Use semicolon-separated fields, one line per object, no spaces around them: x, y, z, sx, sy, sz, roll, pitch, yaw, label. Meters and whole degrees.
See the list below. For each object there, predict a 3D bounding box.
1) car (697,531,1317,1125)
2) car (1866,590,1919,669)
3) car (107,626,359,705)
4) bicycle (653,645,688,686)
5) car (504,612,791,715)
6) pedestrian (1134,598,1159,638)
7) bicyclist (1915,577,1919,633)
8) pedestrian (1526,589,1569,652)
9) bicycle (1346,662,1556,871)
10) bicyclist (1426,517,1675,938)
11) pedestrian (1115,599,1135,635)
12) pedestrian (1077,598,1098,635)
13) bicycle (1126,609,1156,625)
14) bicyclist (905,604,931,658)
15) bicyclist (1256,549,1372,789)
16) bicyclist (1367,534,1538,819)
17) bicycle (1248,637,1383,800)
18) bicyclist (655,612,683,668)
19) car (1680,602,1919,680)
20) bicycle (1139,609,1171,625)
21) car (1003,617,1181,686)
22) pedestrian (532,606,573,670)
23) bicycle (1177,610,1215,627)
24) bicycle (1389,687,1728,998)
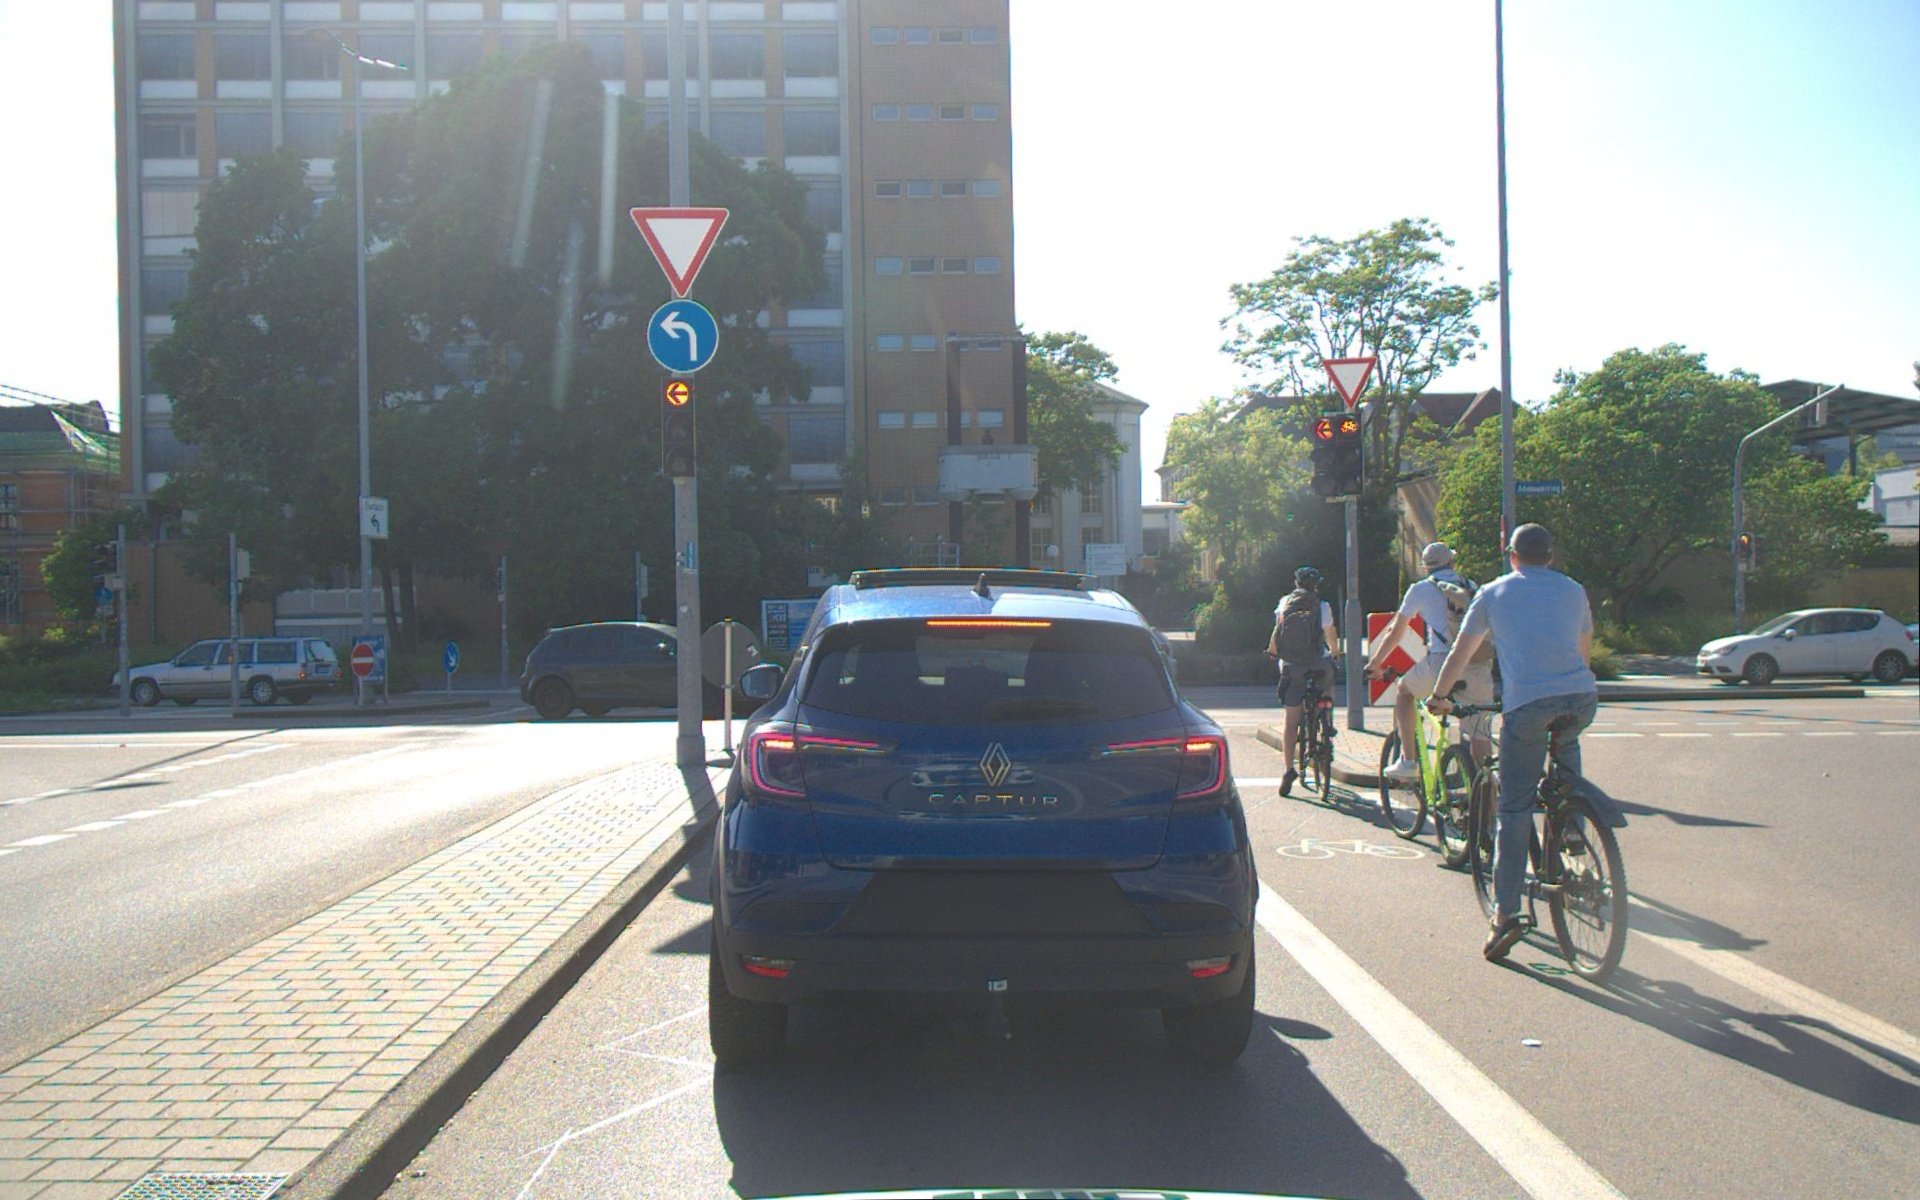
0.084;0.645;6.646;1.758;1.684;3.852;1;0;-2;car
22.162;0.587;35.403;4.408;1.634;2.001;-1;0;5;car
-16.113;1.441;36.788;4.760;1.621;1.939;-1;0;6;car
-7.661;1.746;43.715;0.687;1.025;1.860;-1;-3;-16;bicycle
-4.831;0.976;25.822;3.902;1.414;2.002;-2;0;11;car
9.736;0.921;86.431;1.132;2.049;1.164;-1;0;-1;pedestrian
24.020;0.121;40.900;0.510;1.392;0.576;-1;0;10;bicyclist
15.626;0.546;44.028;0.960;1.632;0.827;-1;0;13;pedestrian
2.918;0.952;10.023;0.657;1.069;1.843;1;0;-2;bicycle
2.538;0.519;7.200;0.725;1.703;0.865;-1;0;-3;bicyclist
9.361;0.967;93.861;1.126;2.049;0.952;-1;0;6;pedestrian
7.100;0.922;92.006;1.126;2.049;0.952;-1;0;6;pedestrian
10.862;1.012;99.355;1.735;0.908;0.765;-1;0;-1;bicycle
-1.153;0.838;45.195;0.623;1.437;0.649;-1;0;5;bicyclist
2.777;0.531;13.049;0.663;1.816;0.939;1;-1;-2;bicyclist
2.931;0.435;9.941;0.660;1.610;1.081;1;0;-2;bicyclist
2.773;0.889;13.061;0.602;1.158;1.825;0;0;-2;bicycle
-7.705;1.066;43.839;0.637;1.437;0.635;-1;-3;-17;bicyclist
16.672;0.804;32.808;3.911;1.385;2.001;-2;-1;6;car
11.208;0.981;94.997;1.735;0.914;0.765;-1;0;-1;bicycle
3.068;1.194;38.076;3.870;1.517;1.812;-1;-2;12;car
-12.199;1.130;49.516;0.912;1.888;0.808;-1;0;8;pedestrian
11.864;0.930;83.206;1.739;0.837;0.763;-1;0;-11;bicycle
2.541;0.977;7.289;0.732;1.069;1.902;-1;0;-2;bicycle
